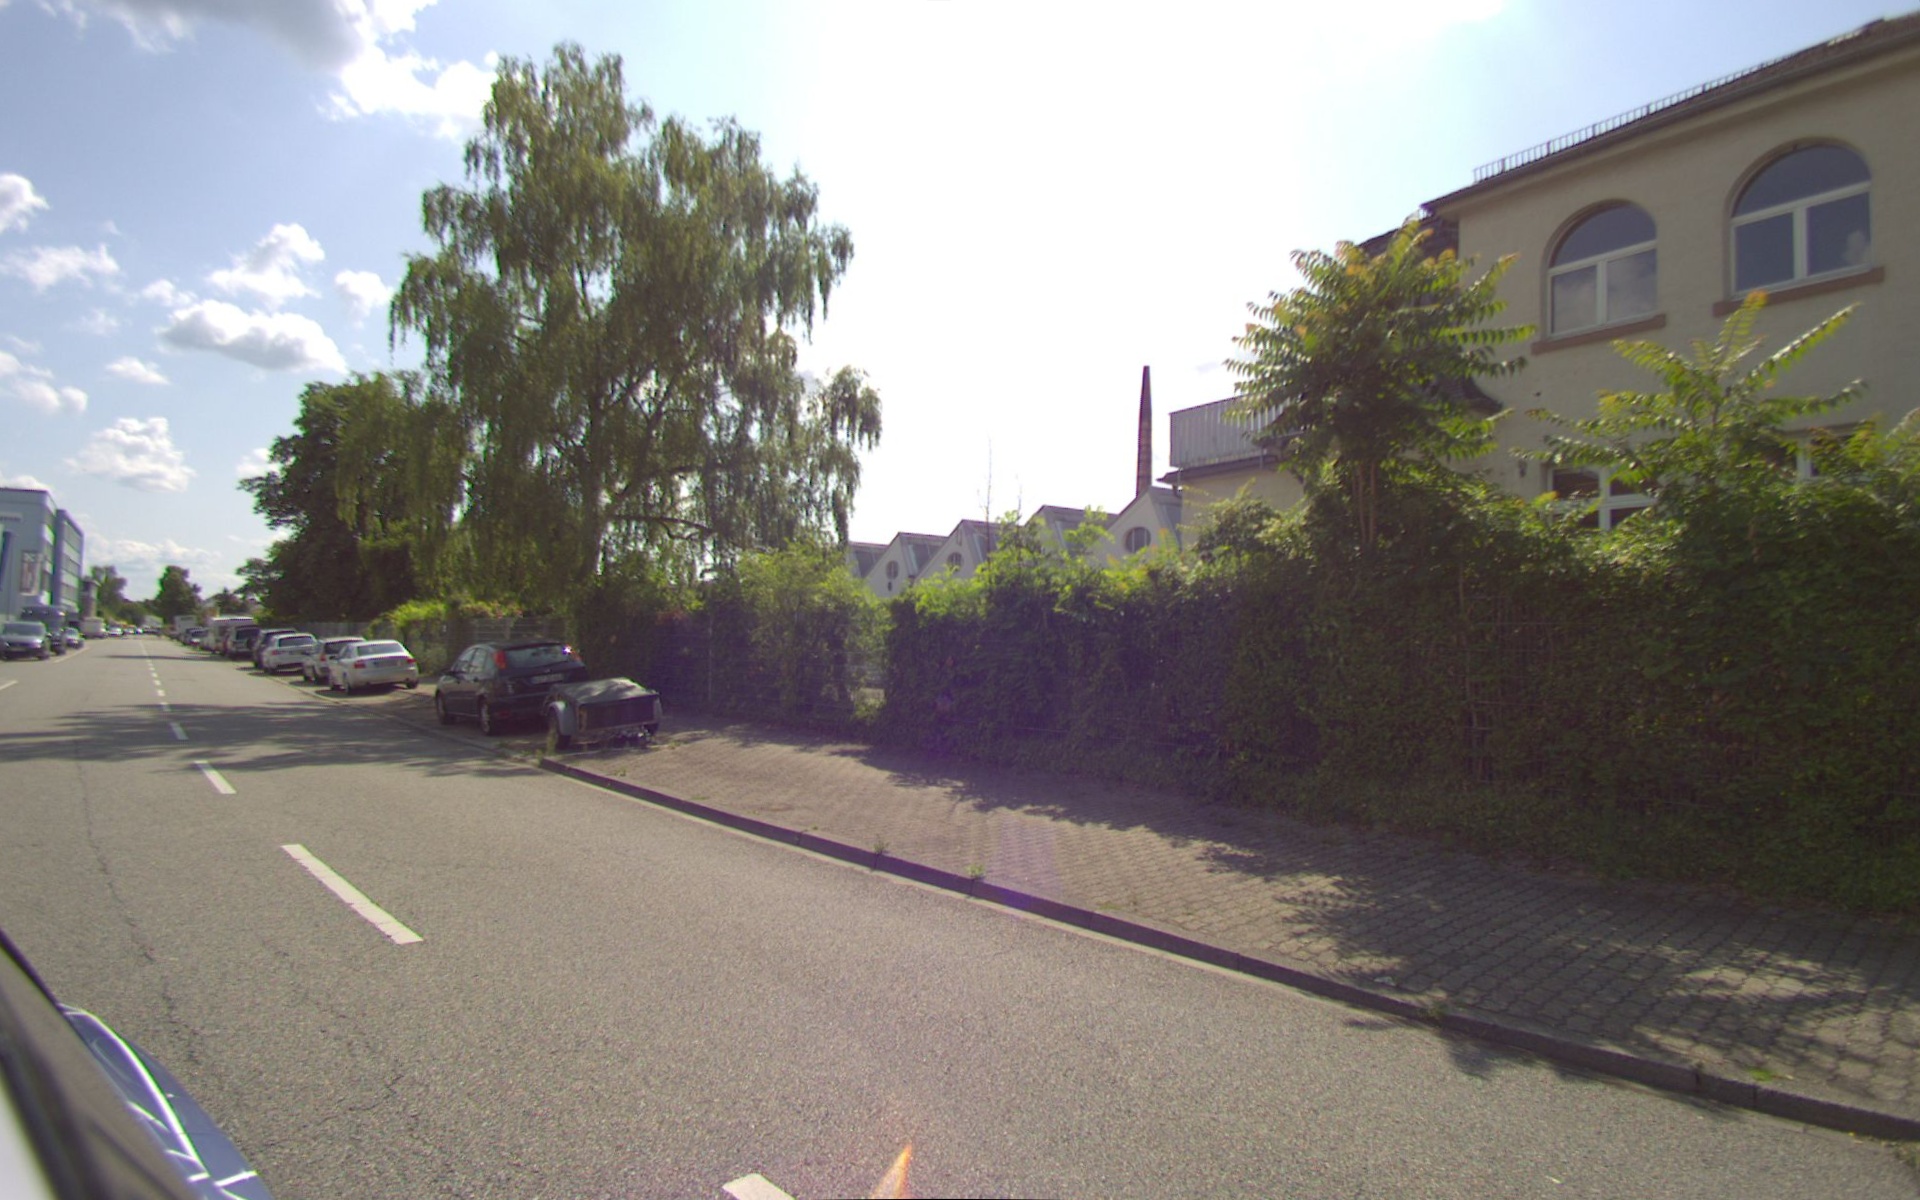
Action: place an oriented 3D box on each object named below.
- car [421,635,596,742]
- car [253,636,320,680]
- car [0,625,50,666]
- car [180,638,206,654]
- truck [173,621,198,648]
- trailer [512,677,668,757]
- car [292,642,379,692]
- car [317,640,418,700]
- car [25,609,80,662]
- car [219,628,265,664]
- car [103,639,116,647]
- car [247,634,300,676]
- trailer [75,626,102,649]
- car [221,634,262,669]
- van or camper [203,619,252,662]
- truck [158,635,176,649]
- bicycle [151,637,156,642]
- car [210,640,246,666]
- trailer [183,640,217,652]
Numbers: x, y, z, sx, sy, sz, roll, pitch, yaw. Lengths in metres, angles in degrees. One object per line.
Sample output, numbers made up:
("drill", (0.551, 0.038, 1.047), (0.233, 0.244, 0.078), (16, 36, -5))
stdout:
("car", (-7.965, 1.426, 17.635), (1.661, 1.524, 4.164), (-1, 0, -40))
("car", (-26.427, 2.260, 39.651), (1.678, 1.607, 4.796), (4, -4, -38))
("car", (-41.838, 2.003, 44.935), (1.802, 1.677, 4.564), (5, -5, -39))
("car", (-72.854, 4.355, 96.103), (1.557, 1.524, 4.207), (3, -3, -41))
("truck", (-100.904, 4.544, 131.861), (2.222, 3.387, 6.917), (-2, -1, -40))
("trailer", (-5.512, 1.677, 14.972), (1.445, 0.857, 2.471), (-2, 0, -39))
("car", (-20.868, 2.195, 33.730), (1.772, 1.539, 4.667), (4, -4, -39))
("car", (-17.060, 1.947, 29.047), (1.702, 1.488, 4.638), (-2, -1, -40))
("car", (-51.234, 2.023, 57.221), (1.913, 2.769, 6.165), (4, -5, -39))
("car", (-43.440, 2.739, 61.189), (1.874, 1.969, 4.966), (-3, 1, -40))
("car", (-152.534, 7.740, 181.549), (1.632, 1.342, 4.007), (4, -4, -39))
("car", (-30.105, 2.375, 44.311), (1.590, 1.758, 4.645), (1, -3, -38))
("trailer", (-100.296, 4.348, 116.450), (1.844, 2.573, 5.083), (4, -4, -36))
("car", (-39.632, 2.824, 55.805), (1.678, 1.815, 3.834), (-1, -1, -37))
("van or camper", (-51.668, 2.795, 71.323), (2.235, 2.825, 6.843), (-1, -1, -41))
("truck", (-130.220, 6.965, 166.263), (2.100, 2.256, 7.365), (0, -2, -36))
("bicycle", (-131.078, 6.466, 164.524), (0.580, 0.747, 2.129), (4, -4, -37))
("car", (-47.325, 3.392, 65.418), (1.604, 1.544, 4.276), (0, -1, -39))
("trailer", (-67.207, 4.046, 89.497), (2.242, 0.890, 7.146), (-2, 0, -38))
